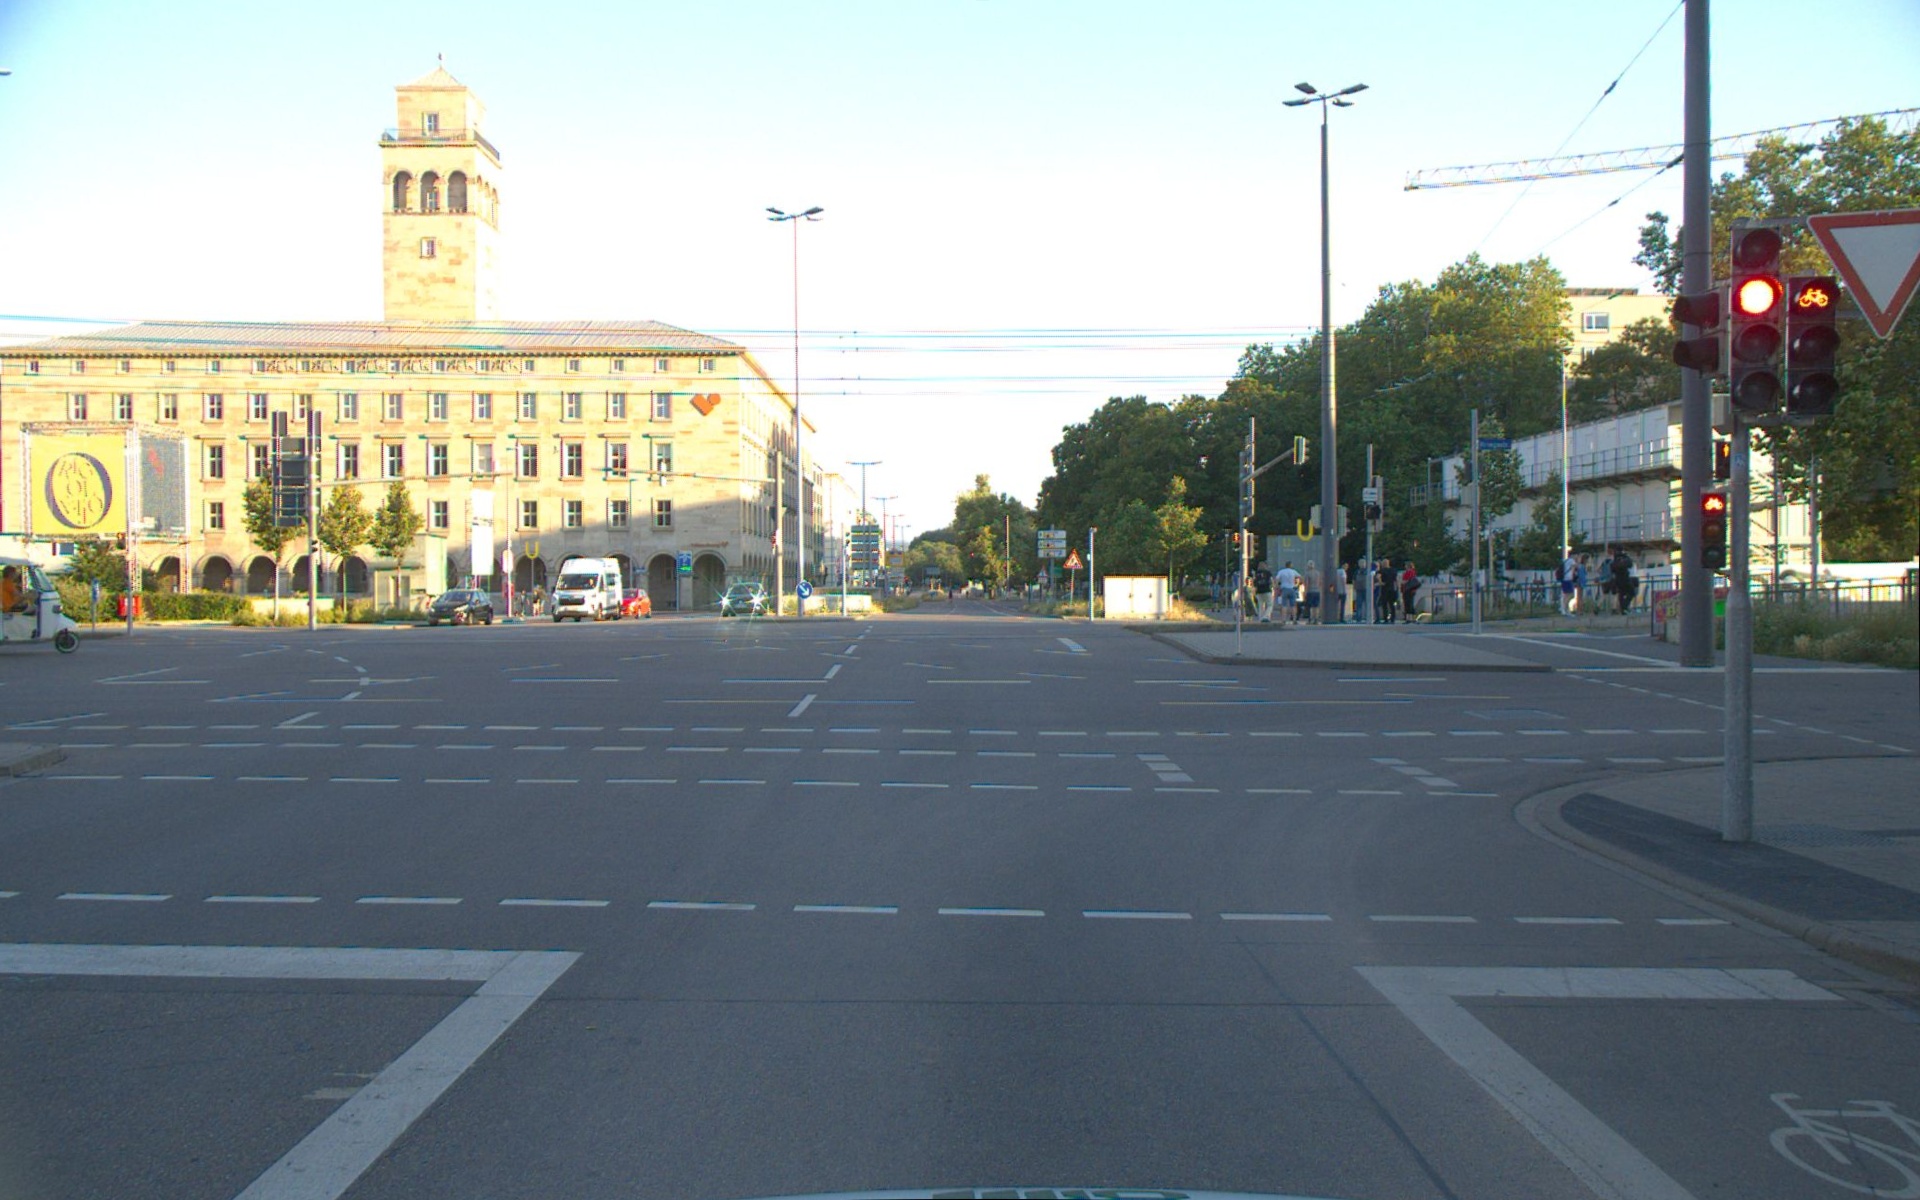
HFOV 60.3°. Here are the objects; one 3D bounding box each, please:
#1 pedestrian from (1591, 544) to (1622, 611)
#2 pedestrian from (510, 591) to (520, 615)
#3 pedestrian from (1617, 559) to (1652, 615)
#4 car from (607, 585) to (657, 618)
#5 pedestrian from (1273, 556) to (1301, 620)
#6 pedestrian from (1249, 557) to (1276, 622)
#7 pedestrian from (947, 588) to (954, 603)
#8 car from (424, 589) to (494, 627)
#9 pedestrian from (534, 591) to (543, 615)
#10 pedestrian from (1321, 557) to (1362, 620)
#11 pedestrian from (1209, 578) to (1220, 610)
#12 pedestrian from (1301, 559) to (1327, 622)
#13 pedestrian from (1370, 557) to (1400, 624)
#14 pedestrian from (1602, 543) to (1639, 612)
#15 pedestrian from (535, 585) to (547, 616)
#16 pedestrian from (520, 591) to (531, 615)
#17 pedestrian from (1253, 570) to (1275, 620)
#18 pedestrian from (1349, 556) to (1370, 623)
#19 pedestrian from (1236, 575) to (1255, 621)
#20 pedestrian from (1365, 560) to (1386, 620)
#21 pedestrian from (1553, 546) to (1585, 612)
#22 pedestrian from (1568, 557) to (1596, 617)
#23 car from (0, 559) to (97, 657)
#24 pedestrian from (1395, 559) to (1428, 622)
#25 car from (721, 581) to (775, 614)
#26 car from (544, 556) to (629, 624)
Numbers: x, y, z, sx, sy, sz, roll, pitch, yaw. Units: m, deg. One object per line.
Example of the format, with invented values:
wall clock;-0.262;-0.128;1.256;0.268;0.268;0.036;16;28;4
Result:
pedestrian;17.112;-0.589;43.782;0.696;1.755;0.669;0;1;16
pedestrian;-25.331;0.176;94.200;0.465;1.323;0.463;1;-1;-6
pedestrian;18.066;-0.353;44.308;0.662;1.466;0.714;-1;0;2
car;-16.021;0.066;80.938;1.703;1.513;4.000;-1;1;-1
pedestrian;9.129;-0.343;46.166;0.696;1.755;0.669;0;1;7
pedestrian;8.303;-0.297;45.421;0.695;1.755;0.916;0;1;12
pedestrian;-1.120;-0.508;194.835;0.888;1.700;1.306;-1;1;-2
car;-21.146;0.301;69.937;1.786;1.491;4.156;-1;1;-2
pedestrian;-23.888;0.179;93.819;0.412;1.323;0.459;1;-1;-6
pedestrian;10.758;-0.342;46.649;0.904;1.755;0.704;-1;1;-36
pedestrian;14.351;-0.347;93.264;0.628;1.791;0.525;0;1;7
pedestrian;9.859;-0.270;46.013;0.695;1.755;0.669;0;1;13
pedestrian;11.786;-0.266;45.849;0.788;1.822;0.801;0;1;13
pedestrian;17.007;-0.570;42.617;0.652;1.755;0.713;0;1;-1
pedestrian;-24.013;0.014;94.807;0.609;1.774;0.459;1;-1;-6
pedestrian;-24.692;0.167;94.037;0.496;1.323;0.700;1;-1;-6
pedestrian;11.178;-0.189;60.782;0.665;1.788;0.902;0;1;20
pedestrian;11.064;-0.292;45.835;0.560;1.822;0.639;0;1;13
pedestrian;10.495;-0.073;60.741;0.548;1.683;0.902;0;1;20
pedestrian;11.889;-0.285;47.311;0.560;1.708;0.639;0;1;13
pedestrian;16.338;-0.554;44.370;0.652;1.755;0.714;0;1;8
pedestrian;16.966;-0.369;45.114;0.559;1.620;0.536;-1;0;-1
car;-17.376;0.142;29.894;2.944;1.725;1.468;-1;1;-38
pedestrian;12.622;-0.266;46.224;0.826;1.764;0.706;0;1;11
car;-9.253;-0.138;72.492;1.785;1.365;4.001;0;1;1
car;-16.242;-0.476;72.237;2.232;2.824;6.085;-1;1;1
